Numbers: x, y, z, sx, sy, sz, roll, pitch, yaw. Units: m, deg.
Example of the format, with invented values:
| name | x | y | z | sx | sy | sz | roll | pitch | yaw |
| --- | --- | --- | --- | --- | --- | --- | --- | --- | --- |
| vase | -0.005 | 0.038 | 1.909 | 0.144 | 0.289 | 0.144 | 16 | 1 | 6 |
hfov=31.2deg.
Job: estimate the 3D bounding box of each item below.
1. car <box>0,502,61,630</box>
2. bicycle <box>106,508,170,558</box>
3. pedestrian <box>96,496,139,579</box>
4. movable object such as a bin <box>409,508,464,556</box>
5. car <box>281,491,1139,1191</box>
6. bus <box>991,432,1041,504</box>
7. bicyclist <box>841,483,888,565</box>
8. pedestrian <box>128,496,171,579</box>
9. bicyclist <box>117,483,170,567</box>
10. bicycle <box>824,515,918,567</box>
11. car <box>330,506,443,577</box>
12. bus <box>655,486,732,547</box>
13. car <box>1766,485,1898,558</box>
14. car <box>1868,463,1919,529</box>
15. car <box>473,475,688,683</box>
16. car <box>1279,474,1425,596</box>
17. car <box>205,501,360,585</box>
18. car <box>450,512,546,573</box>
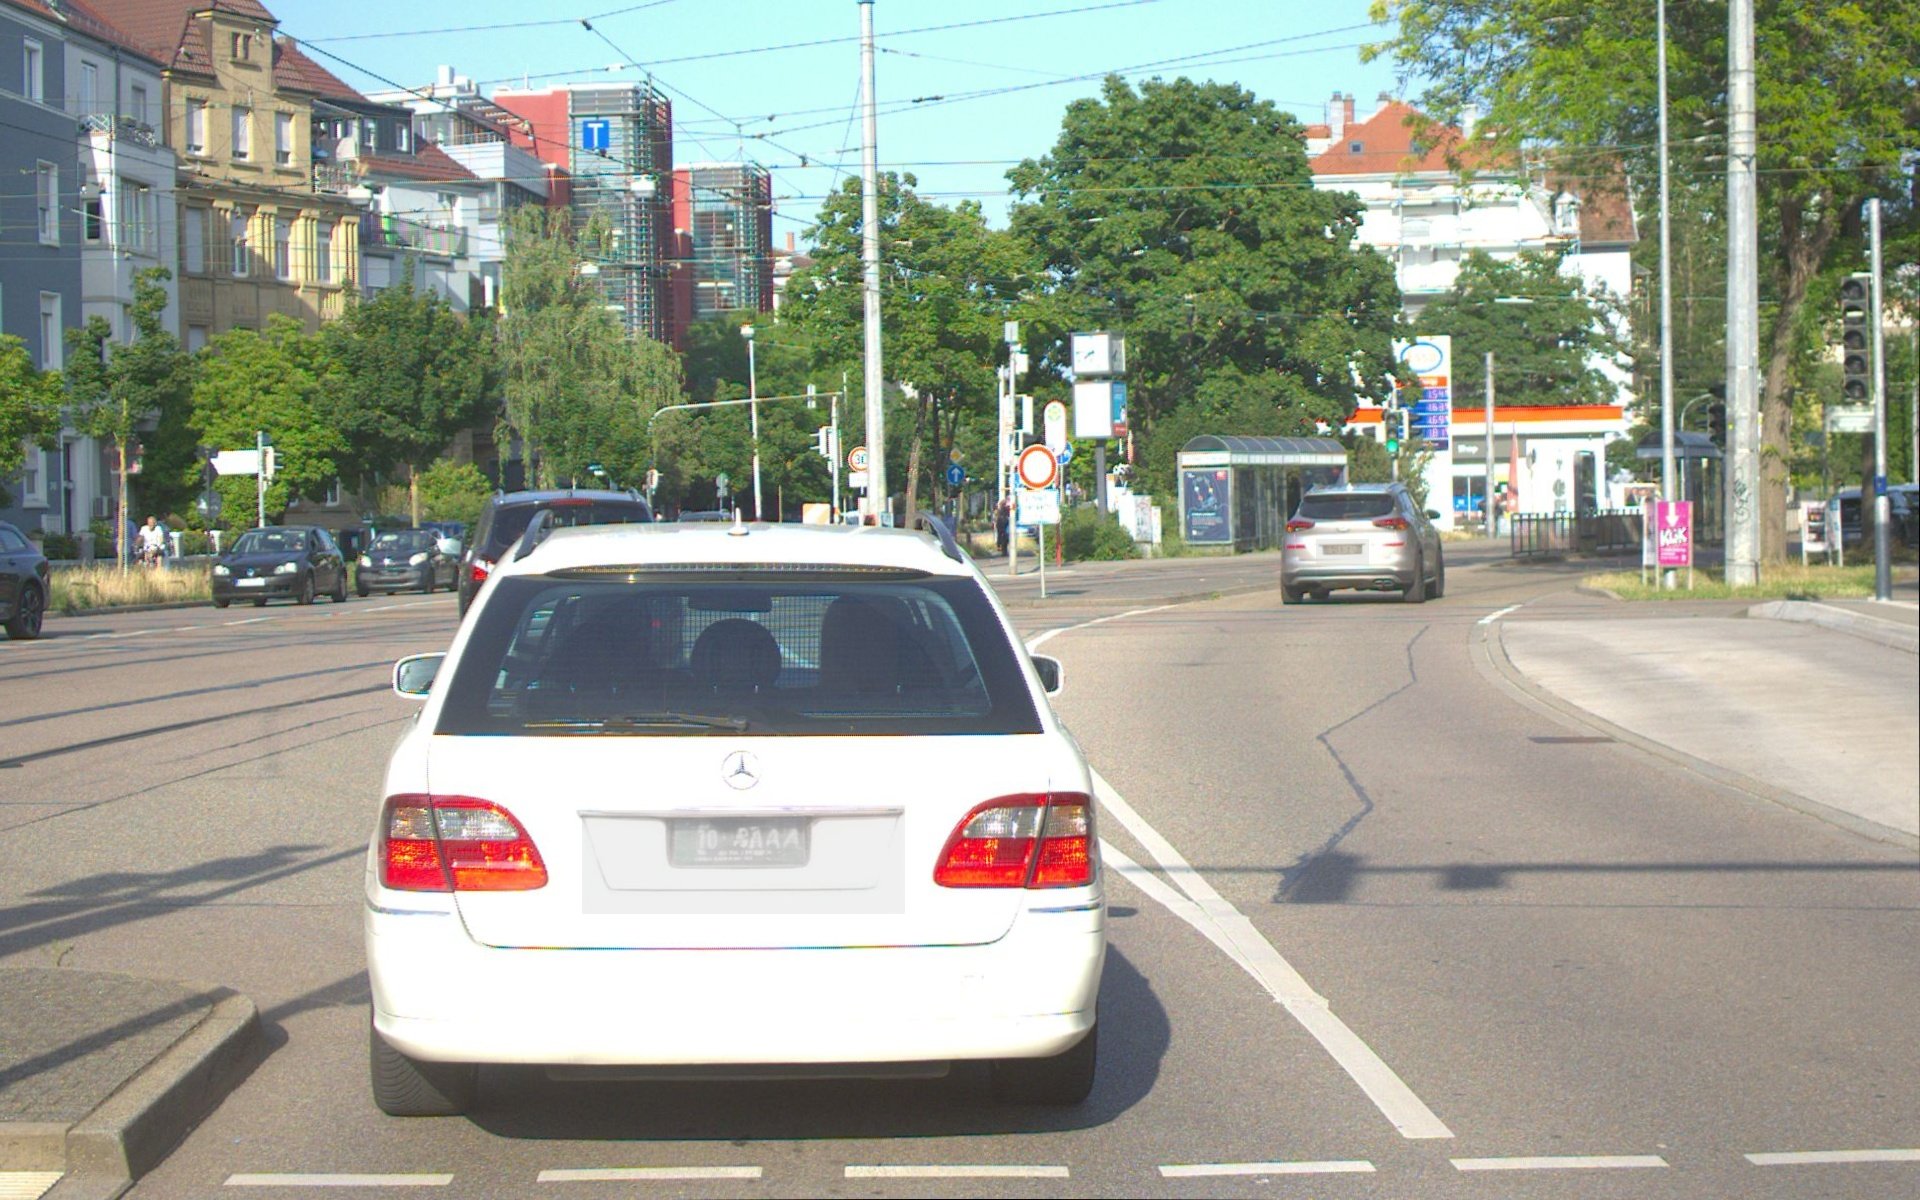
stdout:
| name | x | y | z | sx | sy | sz | roll | pitch | yaw |
| --- | --- | --- | --- | --- | --- | --- | --- | --- | --- |
| car | -12.430 | -0.350 | 41.067 | 1.767 | 1.489 | 4.744 | -1 | 3 | 5 |
| bicycle | -16.523 | -1.347 | 69.114 | 0.769 | 0.962 | 2.034 | -1 | 2 | 0 |
| pedestrian | -18.079 | -1.346 | 73.790 | 0.638 | 1.745 | 0.911 | -1 | 2 | 2 |
| movable object such as a bin | -15.826 | -2.067 | 104.027 | 1.602 | 1.416 | 1.085 | -2 | 2 | -8 |
| car | -0.576 | 0.472 | 9.314 | 1.835 | 1.496 | 3.815 | 1 | 1 | -1 |
| bus | 2.089 | -4.886 | 128.070 | 1.798 | 2.546 | 4.000 | 1 | 1 | 1 |
| bicyclist | -2.022 | -1.601 | 72.613 | 0.899 | 1.693 | 0.732 | -2 | 2 | 0 |
| pedestrian | -17.384 | -1.347 | 73.763 | 0.638 | 1.745 | 0.911 | -1 | 2 | 2 |
| bicyclist | -16.502 | -1.518 | 69.487 | 0.760 | 1.662 | 1.167 | -1 | 2 | 0 |
| bicycle | -1.877 | -1.243 | 72.628 | 1.913 | 0.991 | 0.727 | -3 | 2 | -1 |
| car | -12.344 | -1.281 | 74.134 | 1.634 | 1.428 | 3.628 | -1 | 2 | 3 |
| bus | -7.360 | -2.324 | 95.202 | 1.844 | 1.630 | 4.160 | -1 | 2 | -1 |
| car | 19.617 | -1.785 | 77.251 | 1.856 | 1.510 | 3.994 | -2 | 1 | 29 |
| car | 23.093 | -2.511 | 82.022 | 1.856 | 1.510 | 3.994 | -2 | 1 | 28 |
| car | -3.128 | -0.210 | 28.492 | 1.641 | 1.594 | 3.816 | 0 | 1 | -6 |
| car | 5.430 | -0.909 | 47.315 | 1.836 | 1.594 | 3.814 | 1 | 1 | 9 |
| car | -12.317 | -1.059 | 62.750 | 1.767 | 1.428 | 4.000 | -1 | 2 | 4 |
| car | -11.838 | -1.495 | 88.298 | 1.689 | 1.436 | 4.000 | -1 | 2 | 3 |
